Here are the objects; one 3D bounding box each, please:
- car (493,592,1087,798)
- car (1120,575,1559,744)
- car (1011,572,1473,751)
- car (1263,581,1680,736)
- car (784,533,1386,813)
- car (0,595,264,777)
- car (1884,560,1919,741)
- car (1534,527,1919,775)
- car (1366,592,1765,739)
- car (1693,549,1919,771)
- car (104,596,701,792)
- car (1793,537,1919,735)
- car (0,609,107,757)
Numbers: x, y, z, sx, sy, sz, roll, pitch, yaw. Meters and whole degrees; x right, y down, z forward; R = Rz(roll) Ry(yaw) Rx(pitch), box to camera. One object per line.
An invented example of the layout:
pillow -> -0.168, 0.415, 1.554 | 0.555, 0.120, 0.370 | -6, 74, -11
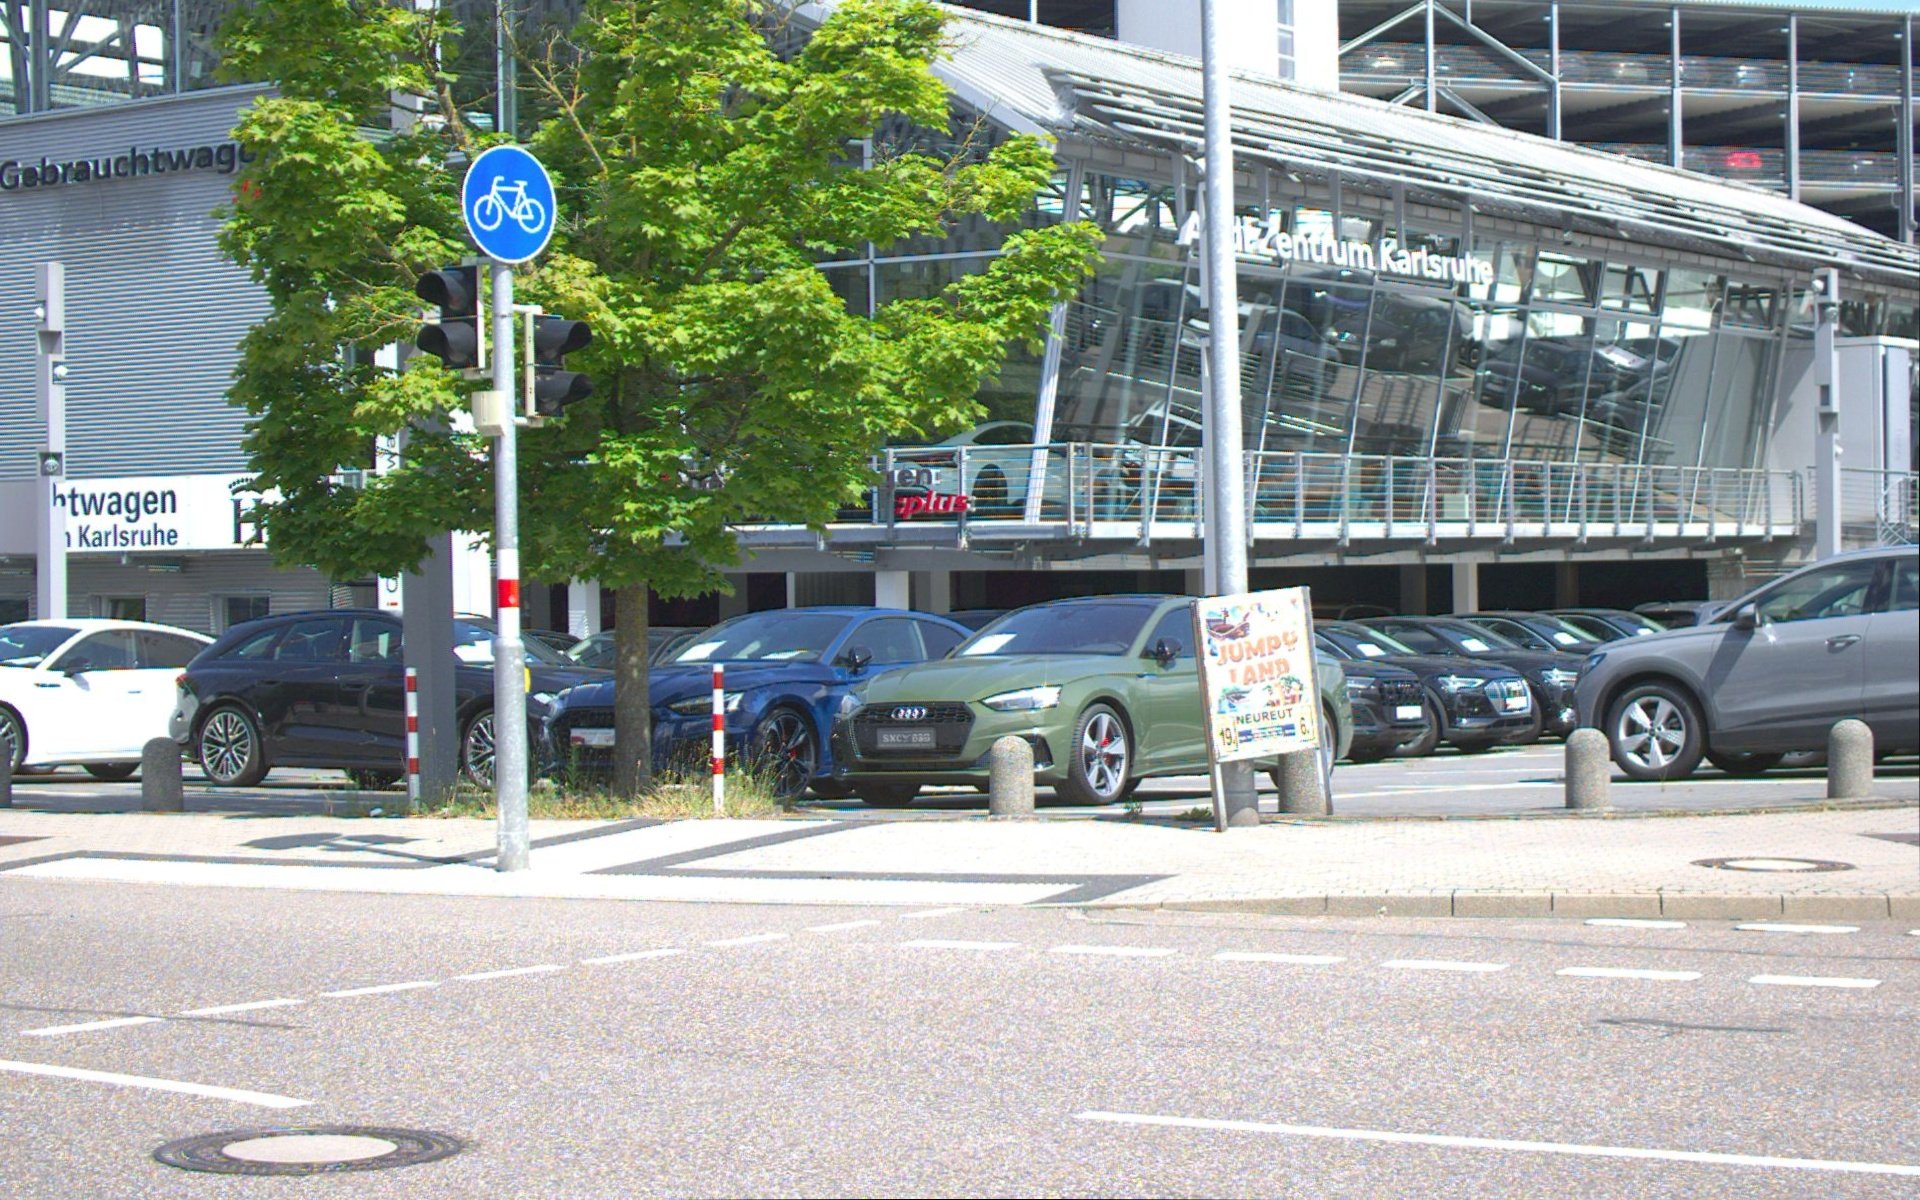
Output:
car -> -1.111, 0.624, 24.832 | 1.905, 1.293, 4.581 | 2, 1, 34
car -> 4.321, 0.637, 39.334 | 4.546, 1.734, 1.996 | 2, 1, 32
car -> 3.031, 0.624, 37.256 | 4.546, 1.734, 1.996 | 2, 1, 32
car -> 6.140, 0.663, 41.512 | 4.584, 1.672, 1.903 | 2, 1, 36
car -> 0.966, 0.440, 23.275 | 1.905, 1.672, 4.581 | 2, 1, 34
car -> -7.965, 0.735, 28.927 | 1.793, 1.459, 3.992 | 0, -3, 34
car -> 11.044, 0.523, 31.470 | 4.584, 1.672, 1.903 | 2, 1, 36
car -> 6.678, 0.361, 24.784 | 4.584, 1.672, 1.903 | -3, -2, 36
car -> 7.661, 0.792, 43.667 | 4.584, 1.672, 1.903 | 2, 1, 36
car -> 8.270, 0.491, 26.805 | 4.584, 1.672, 1.903 | 2, 1, 36
car -> -4.532, 0.747, 27.653 | 4.749, 1.459, 1.792 | 0, -3, 34
car -> 9.698, 0.345, 29.421 | 4.584, 1.672, 1.903 | 2, 1, 36
car -> -10.038, 0.741, 30.714 | 1.905, 1.293, 4.581 | 2, 1, 34
